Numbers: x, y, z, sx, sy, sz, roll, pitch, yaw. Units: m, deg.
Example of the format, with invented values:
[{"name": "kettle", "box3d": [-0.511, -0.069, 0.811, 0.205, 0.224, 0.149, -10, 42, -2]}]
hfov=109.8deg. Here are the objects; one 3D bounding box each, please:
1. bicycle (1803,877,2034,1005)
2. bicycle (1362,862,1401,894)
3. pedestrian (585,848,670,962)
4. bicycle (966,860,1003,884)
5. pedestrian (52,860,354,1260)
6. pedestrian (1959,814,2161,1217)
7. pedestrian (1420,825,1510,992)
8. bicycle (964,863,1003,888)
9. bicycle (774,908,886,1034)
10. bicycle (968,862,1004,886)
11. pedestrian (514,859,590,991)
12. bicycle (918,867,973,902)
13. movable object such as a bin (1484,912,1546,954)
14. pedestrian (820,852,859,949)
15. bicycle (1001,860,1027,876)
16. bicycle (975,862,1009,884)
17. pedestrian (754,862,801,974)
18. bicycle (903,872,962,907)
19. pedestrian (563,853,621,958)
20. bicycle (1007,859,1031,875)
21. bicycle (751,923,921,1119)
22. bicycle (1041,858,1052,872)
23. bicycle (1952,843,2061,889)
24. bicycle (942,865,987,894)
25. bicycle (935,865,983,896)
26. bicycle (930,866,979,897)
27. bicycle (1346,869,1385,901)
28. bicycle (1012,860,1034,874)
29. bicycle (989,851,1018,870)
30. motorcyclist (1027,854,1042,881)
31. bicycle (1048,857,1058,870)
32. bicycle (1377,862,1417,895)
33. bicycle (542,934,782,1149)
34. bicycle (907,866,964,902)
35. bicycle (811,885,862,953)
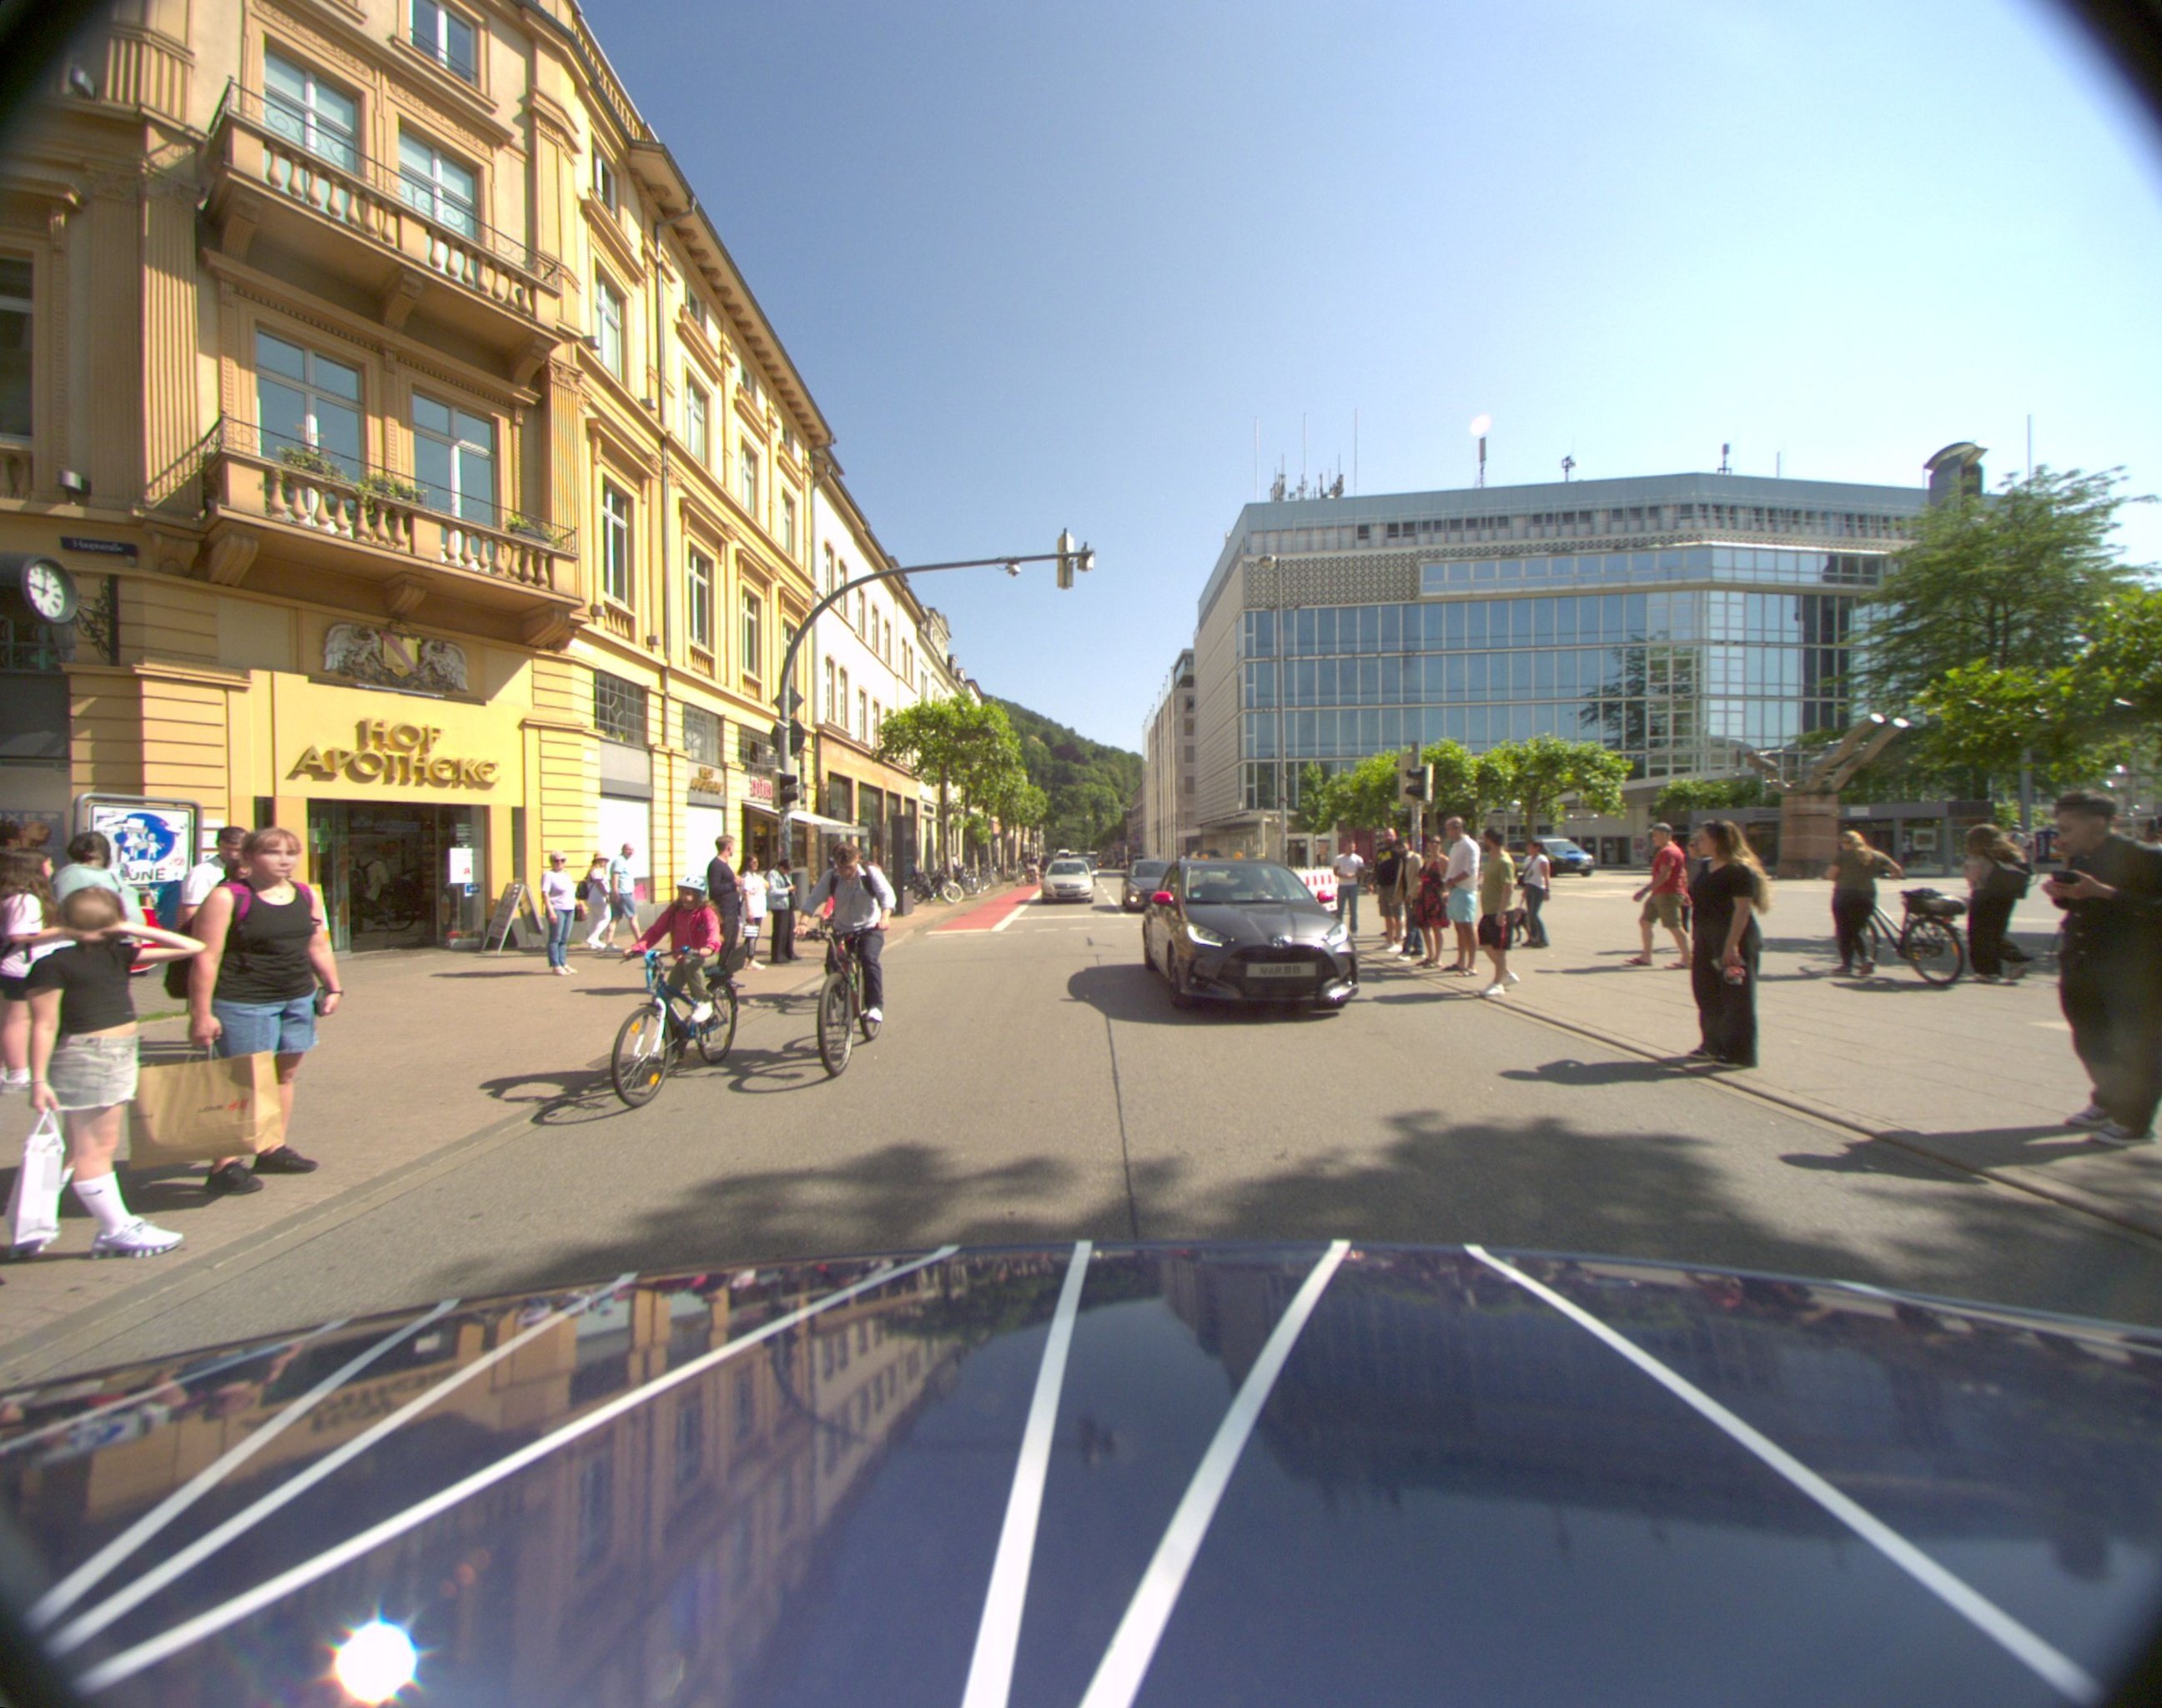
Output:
[{"name": "bicycle", "box3d": [9.042, 0.884, 8.342, 0.729, 1.137, 1.914, -2, 1, 13]}, {"name": "bicycle", "box3d": [11.382, 0.887, 28.842, 0.592, 1.140, 1.757, -1, 1, -8]}, {"name": "pedestrian", "box3d": [-7.373, 0.797, 12.380, 0.756, 1.782, 0.861, -1, 1, 19]}, {"name": "bicycle", "box3d": [-4.746, 0.893, 37.384, 1.757, 1.140, 0.592, -1, 1, -2]}, {"name": "pedestrian", "box3d": [-4.168, 0.904, 3.679, 0.578, 1.720, 0.718, 1, -1, -8]}, {"name": "pedestrian", "box3d": [5.090, 0.687, 3.652, 0.876, 1.737, 0.733, -3, 1, -2]}, {"name": "pedestrian", "box3d": [4.605, 0.630, 9.148, 0.639, 1.903, 0.733, -3, 1, -2]}, {"name": "bicycle", "box3d": [-4.656, 1.019, 36.274, 1.757, 1.140, 0.592, -1, 1, -2]}, {"name": "bicycle", "box3d": [-2.756, 1.242, 8.566, 0.667, 1.086, 1.897, -3, 1, -3]}, {"name": "bicycle", "box3d": [-4.765, 1.007, 38.239, 1.757, 1.140, 0.592, -1, 1, -2]}, {"name": "pedestrian", "box3d": [-6.861, 0.893, 9.886, 0.578, 1.650, 0.621, -1, 1, -12]}, {"name": "bicycle", "box3d": [-4.680, 1.041, 26.322, 1.757, 1.140, 0.592, -1, 1, -2]}, {"name": "movable object such as a bin", "box3d": [6.908, 1.251, 12.104, 0.662, 0.577, 0.528, -3, 1, -2]}, {"name": "pedestrian", "box3d": [-4.521, 0.855, 14.250, 0.651, 1.770, 0.621, 0, 2, -14]}, {"name": "bicycle", "box3d": [-4.761, 0.994, 54.073, 1.757, 1.140, 0.592, -1, 1, -2]}, {"name": "bicycle", "box3d": [-4.762, 1.009, 40.910, 1.757, 1.140, 0.592, -1, 1, -2]}, {"name": "pedestrian", "box3d": [-4.484, 0.929, 11.242, 0.531, 1.586, 0.588, 1, 1, -12]}, {"name": "bicycle", "box3d": [-4.744, 1.132, 24.346, 1.757, 1.029, 0.592, -1, 1, -2]}, {"name": "pedestrian", "box3d": [-8.104, 0.820, 12.591, 0.686, 1.675, 0.579, 0, 1, 37]}, {"name": "bicycle", "box3d": [-4.632, 0.948, 56.696, 1.757, 1.140, 0.592, -1, 1, -2]}, {"name": "bicycle", "box3d": [-1.846, 1.209, 6.053, 0.736, 1.086, 1.897, -3, 1, -2]}, {"name": "bicycle", "box3d": [-2.828, 0.881, 62.277, 0.736, 1.086, 1.897, -3, 1, 0]}, {"name": "bicycle", "box3d": [27.116, 0.340, 22.287, 2.355, 1.237, 0.733, -3, 1, -2]}, {"name": "bicycle", "box3d": [-4.758, 1.027, 31.101, 1.757, 1.140, 0.592, -1, 1, -2]}, {"name": "bicycle", "box3d": [-4.739, 1.030, 29.623, 1.757, 1.140, 0.592, -1, 1, -2]}, {"name": "bicycle", "box3d": [-4.796, 1.044, 28.880, 1.757, 1.140, 0.592, -1, 1, -2]}, {"name": "bicycle", "box3d": [10.752, 1.157, 28.767, 0.592, 1.140, 1.757, -1, 1, -8]}, {"name": "bicycle", "box3d": [-4.818, 1.099, 63.253, 1.757, 1.140, 0.592, -1, 1, -2]}, {"name": "bicycle", "box3d": [-4.891, 0.387, 47.851, 1.757, 1.140, 0.592, -1, 1, -2]}, {"name": "motorcyclist", "box3d": [-2.601, 0.747, 42.452, 0.736, 1.446, 0.706, -3, 1, 0]}, {"name": "bicycle", "box3d": [-2.429, 0.814, 66.631, 0.736, 1.086, 1.897, -3, 1, 0]}, {"name": "bicycle", "box3d": [11.998, 0.916, 28.939, 0.592, 1.140, 1.757, -1, 1, -8]}, {"name": "bicycle", "box3d": [-2.905, 1.236, 5.532, 0.736, 1.086, 1.819, -2, 0, -2]}, {"name": "bicycle", "box3d": [-4.859, 1.011, 25.443, 1.757, 1.140, 0.592, -1, 1, -2]}, {"name": "bicycle", "box3d": [-4.549, 1.176, 14.252, 0.737, 1.086, 1.895, 2, 0, -14]}]
